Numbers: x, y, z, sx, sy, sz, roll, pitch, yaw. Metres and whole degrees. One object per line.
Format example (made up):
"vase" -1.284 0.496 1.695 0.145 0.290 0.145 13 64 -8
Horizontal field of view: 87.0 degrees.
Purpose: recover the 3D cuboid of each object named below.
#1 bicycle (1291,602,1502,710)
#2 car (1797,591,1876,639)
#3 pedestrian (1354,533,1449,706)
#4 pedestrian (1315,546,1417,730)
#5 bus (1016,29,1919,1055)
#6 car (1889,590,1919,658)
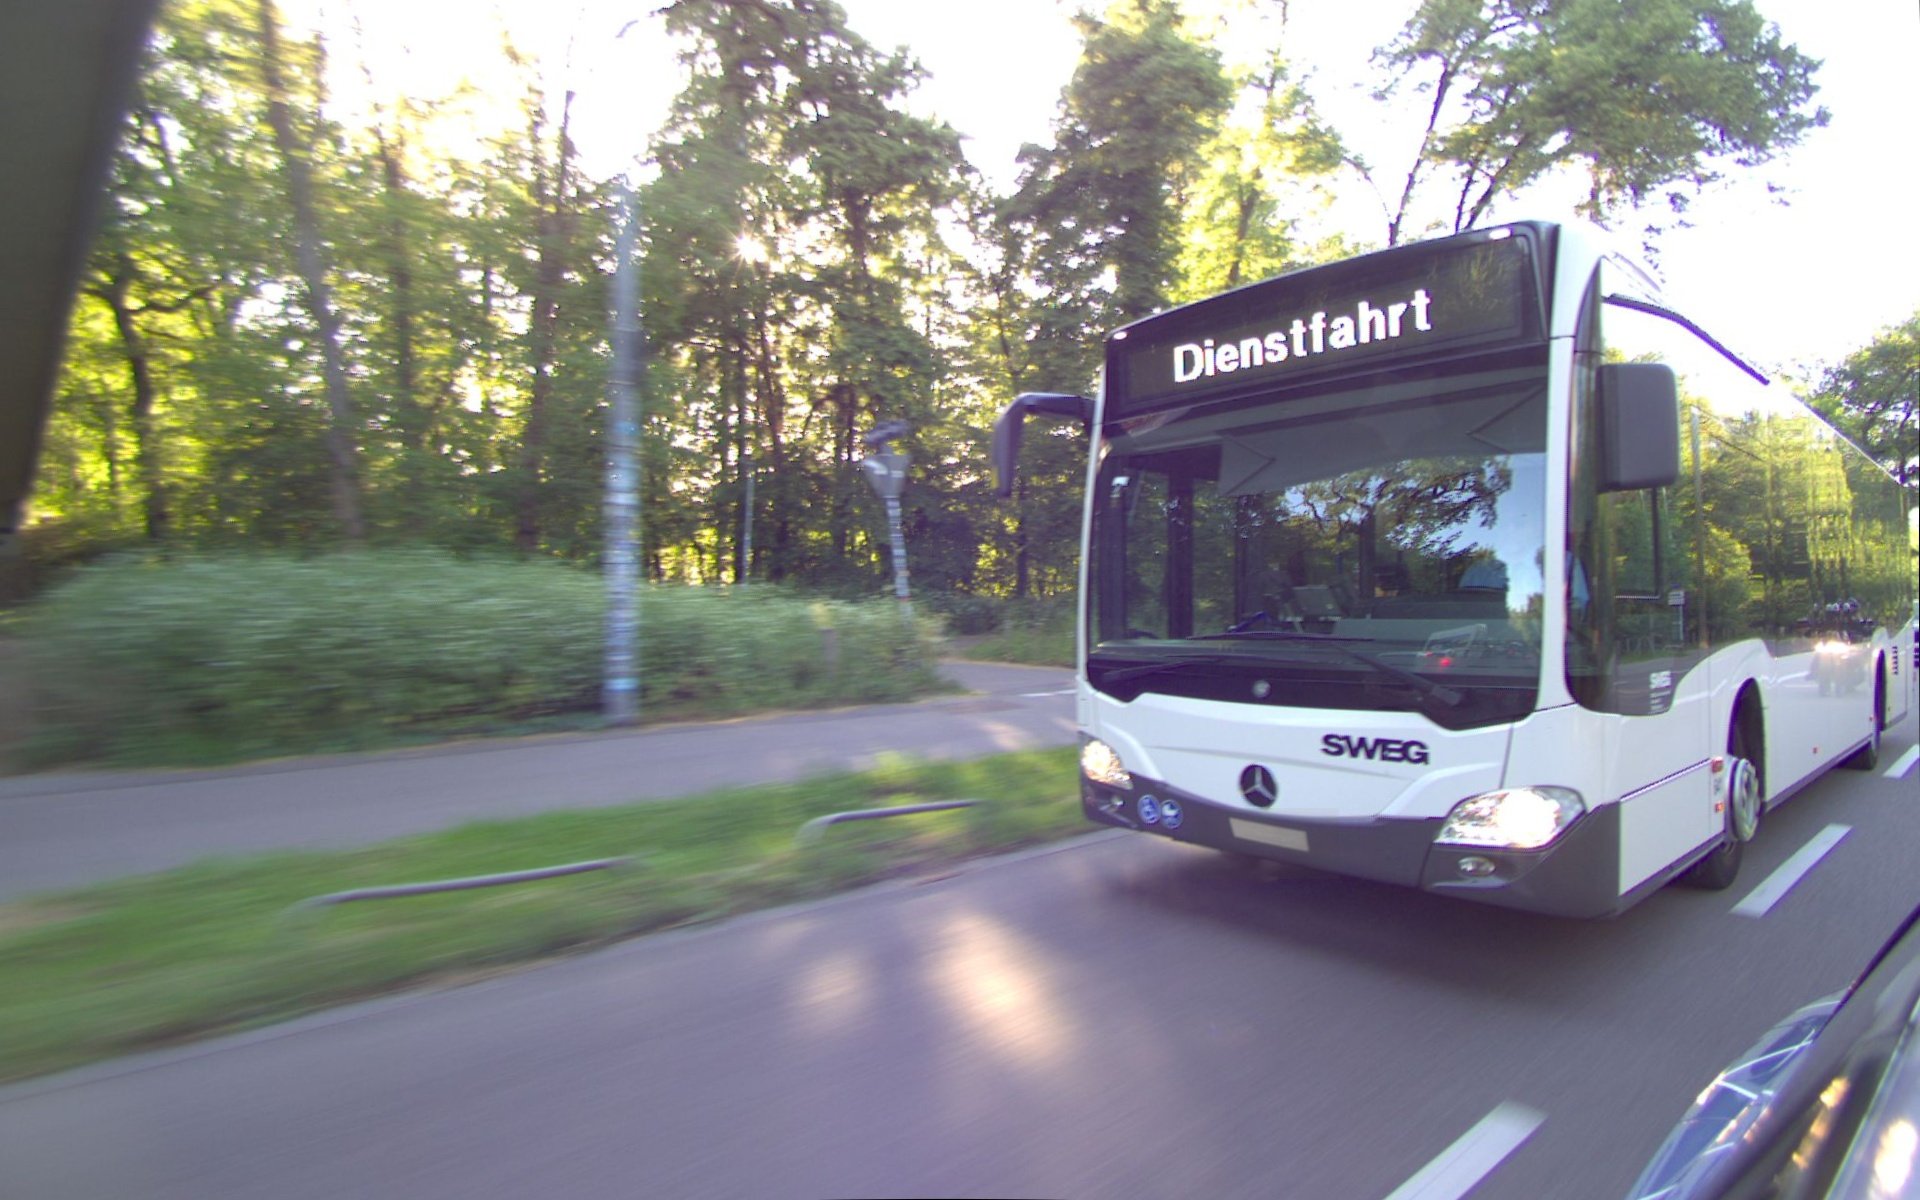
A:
"bicycle" 4.988 0.589 11.679 2.063 1.081 0.856 2 1 45
"car" 31.129 0.488 35.902 1.839 1.594 4.388 1 1 45
"pedestrian" 5.060 0.202 11.590 0.699 1.876 0.924 1 1 44
"pedestrian" 4.376 0.380 10.906 0.699 1.876 0.924 1 1 44
"bus" 5.630 -0.198 8.319 12.069 3.263 2.707 0 0 -43
"car" 24.822 0.572 25.583 1.857 1.638 3.936 0 0 44
